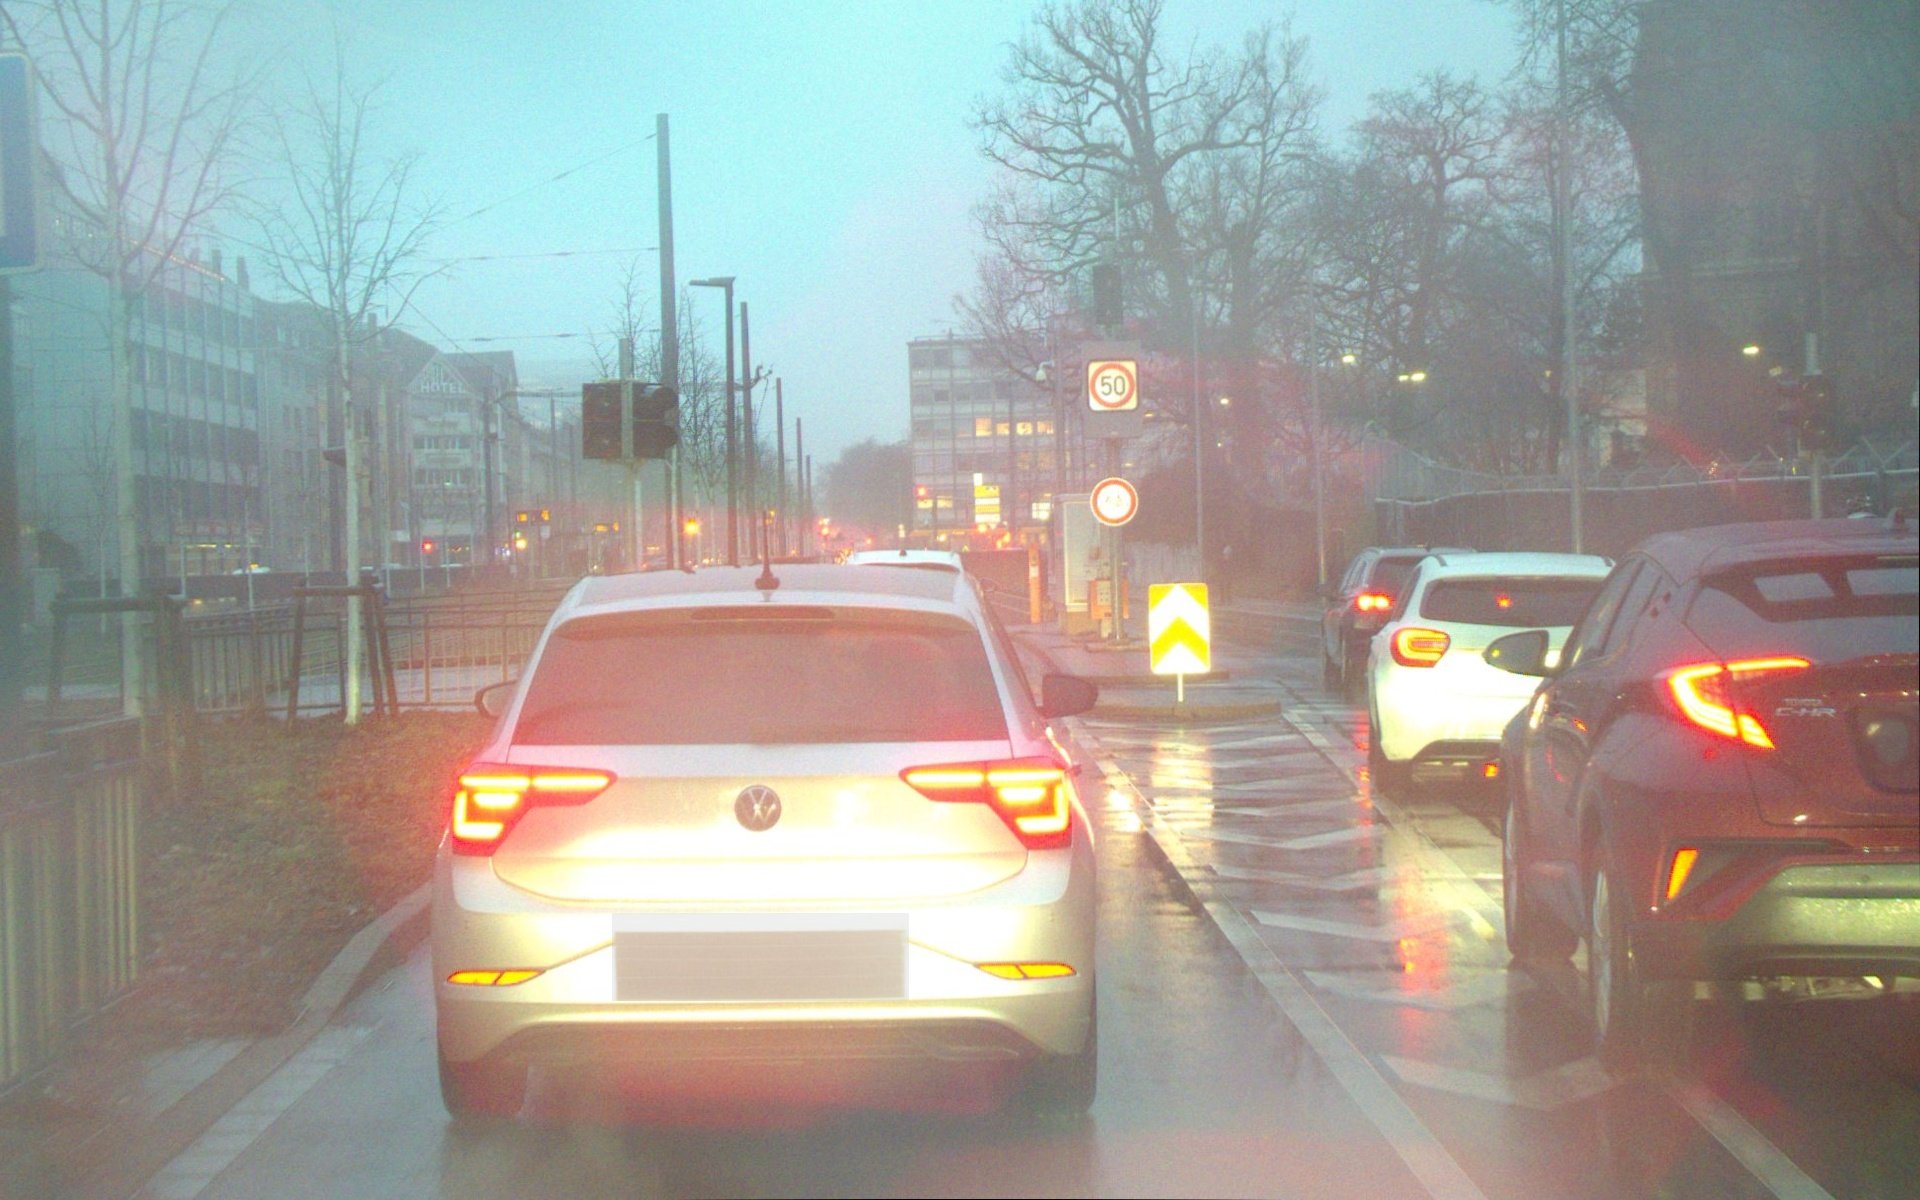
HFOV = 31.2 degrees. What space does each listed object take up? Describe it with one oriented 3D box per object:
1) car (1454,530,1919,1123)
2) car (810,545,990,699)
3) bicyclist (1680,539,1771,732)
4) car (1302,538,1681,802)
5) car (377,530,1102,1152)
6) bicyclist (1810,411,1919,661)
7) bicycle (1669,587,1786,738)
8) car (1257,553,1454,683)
[{"bbox_3d":[2.553,0.559,10.575,1.722,1.474,3.999,0,0,4],"label":"car"},{"bbox_3d":[-0.582,0.204,35.105,1.722,1.474,4.000,0,0,0],"label":"car"},{"bbox_3d":[6.414,0.286,28.827,0.500,1.586,0.837,-2,1,-3],"label":"bicyclist"},{"bbox_3d":[3.193,0.386,21.364,1.722,1.474,4.000,0,0,0],"label":"car"},{"bbox_3d":[-0.528,0.568,10.209,1.722,1.474,4.000,0,0,0],"label":"car"},{"bbox_3d":[6.551,-0.464,24.915,0.500,1.761,0.837,-2,1,-3],"label":"bicyclist"},{"bbox_3d":[6.419,0.501,28.839,0.411,1.181,1.948,-2,1,-3],"label":"bicycle"},{"bbox_3d":[4.155,0.170,36.591,1.623,1.295,4.000,0,0,0],"label":"car"}]
